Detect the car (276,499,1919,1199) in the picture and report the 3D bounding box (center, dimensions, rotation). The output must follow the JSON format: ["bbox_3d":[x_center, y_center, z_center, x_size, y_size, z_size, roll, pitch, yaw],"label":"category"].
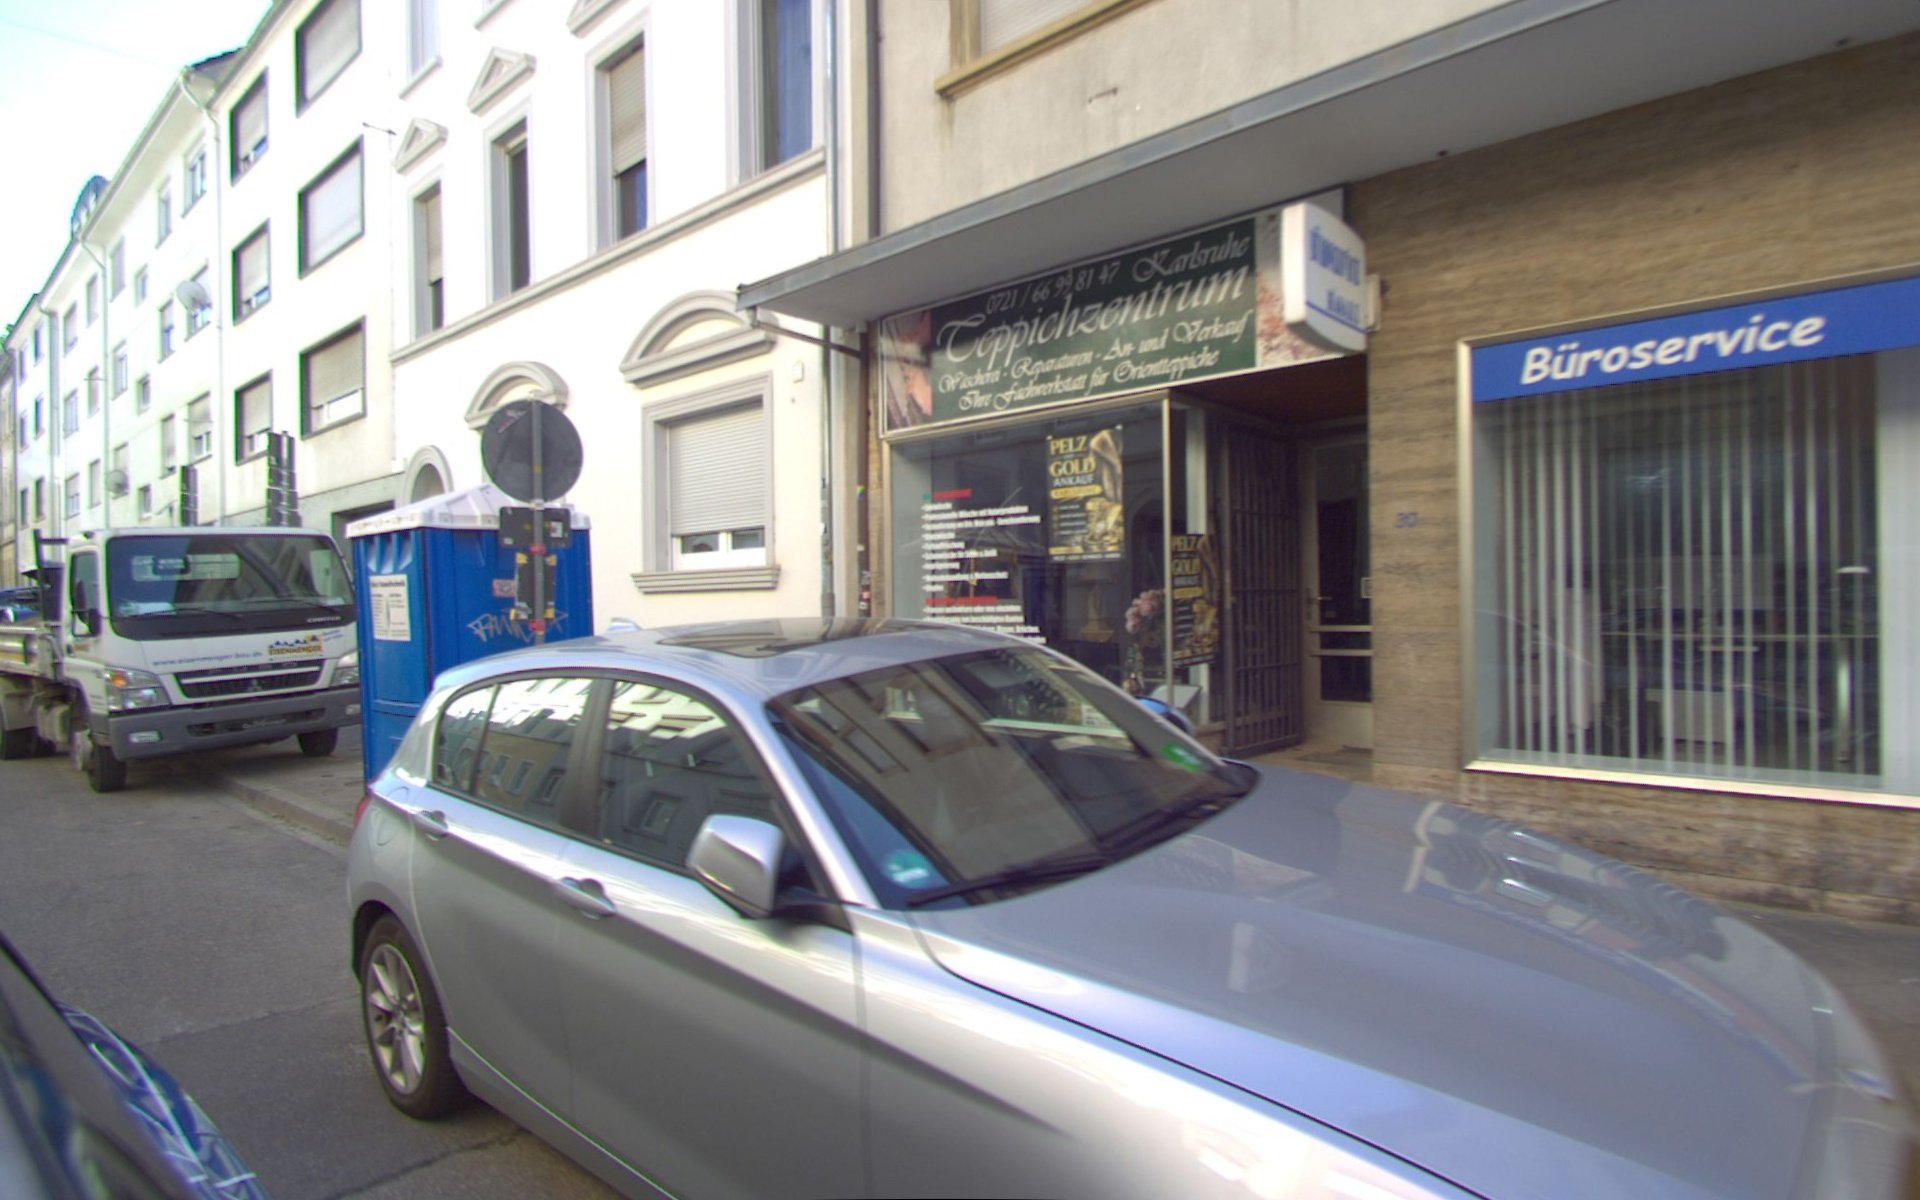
[{"bbox_3d":[-0.149,0.751,2.706,4.486,1.535,1.647,-2,-3,41],"label":"car"}]

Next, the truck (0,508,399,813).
[{"bbox_3d":[-8.456,0.493,10.479,6.336,2.326,2.145,0,-2,36],"label":"truck"}]

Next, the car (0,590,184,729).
[{"bbox_3d":[-14.464,0.875,16.191,5.176,1.896,1.895,-1,-3,37],"label":"car"}]

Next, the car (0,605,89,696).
[{"bbox_3d":[-20.354,1.015,21.673,4.172,1.783,1.738,0,-2,37],"label":"car"}]
